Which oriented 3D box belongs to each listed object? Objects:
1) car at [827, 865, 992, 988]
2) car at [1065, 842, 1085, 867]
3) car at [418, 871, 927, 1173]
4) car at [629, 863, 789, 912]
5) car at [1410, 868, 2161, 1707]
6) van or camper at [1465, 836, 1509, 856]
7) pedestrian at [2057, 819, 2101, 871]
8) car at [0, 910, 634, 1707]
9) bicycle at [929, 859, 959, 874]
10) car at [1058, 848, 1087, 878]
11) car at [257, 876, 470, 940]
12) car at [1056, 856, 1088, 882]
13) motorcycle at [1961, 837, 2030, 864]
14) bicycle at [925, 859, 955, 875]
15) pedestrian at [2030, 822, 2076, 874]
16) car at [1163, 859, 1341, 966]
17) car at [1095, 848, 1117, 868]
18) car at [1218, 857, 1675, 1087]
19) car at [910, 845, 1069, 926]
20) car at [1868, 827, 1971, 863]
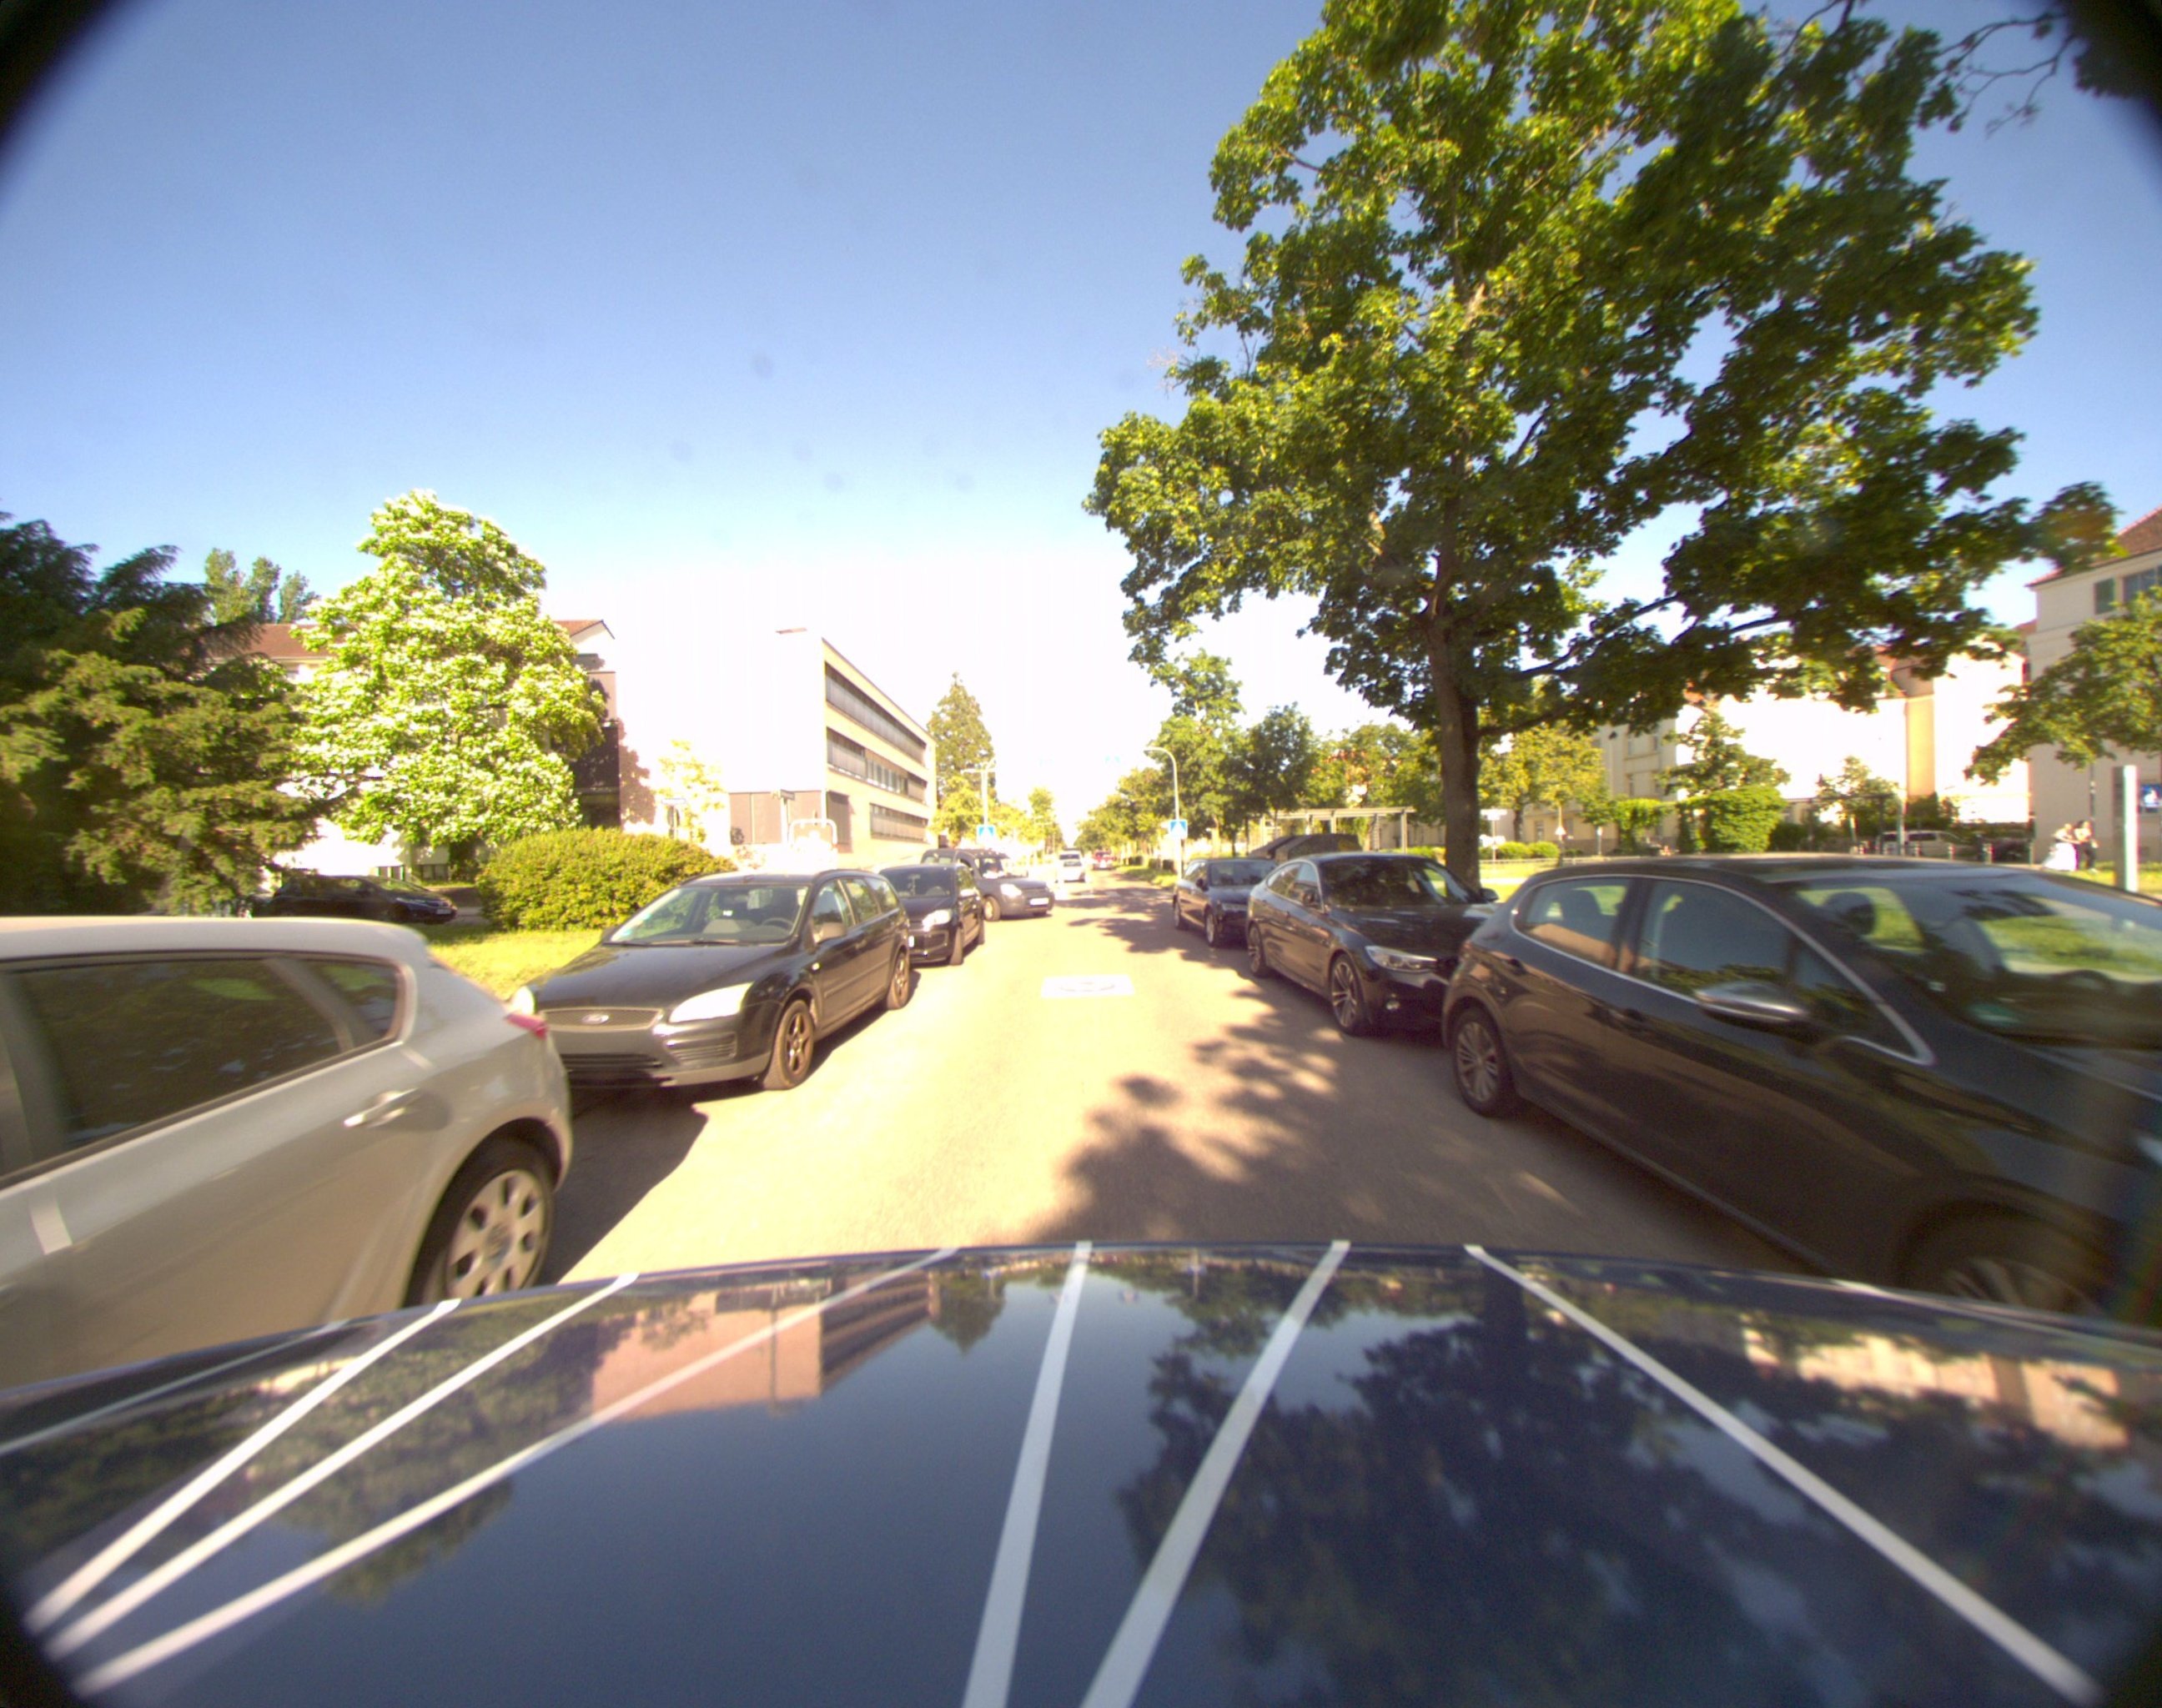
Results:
[{"bbox_3d":[-2.500,0.988,11.966,1.663,1.465,3.792,-3,0,0],"label":"car"},{"bbox_3d":[-0.625,0.062,85.167,2.074,2.583,6.202,-2,0,1],"label":"car"},{"bbox_3d":[-2.727,0.986,6.492,1.774,1.520,4.557,-2,0,1],"label":"car"},{"bbox_3d":[-12.759,1.132,26.295,4.559,1.466,1.906,-2,1,-3],"label":"car"},{"bbox_3d":[2.919,0.841,2.698,1.885,1.411,3.803,-1,1,1],"label":"car"},{"bbox_3d":[42.194,-0.821,79.056,2.273,2.002,4.373,-2,1,0],"label":"van or camper"},{"bbox_3d":[32.563,-0.290,24.790,0.544,1.675,0.674,-1,1,5],"label":"pedestrian"},{"bbox_3d":[-2.724,1.031,0.933,1.878,1.525,4.491,-2,0,-4],"label":"car"},{"bbox_3d":[-10.287,0.962,57.043,2.084,1.058,0.860,1,1,0],"label":"bicycle"},{"bbox_3d":[-0.564,0.564,51.710,1.788,1.899,4.626,-2,0,1],"label":"car"},{"bbox_3d":[-19.501,1.429,20.807,3.981,1.502,1.823,-2,1,-2],"label":"car"},{"bbox_3d":[-0.473,0.822,44.193,1.652,1.324,4.934,-2,0,1],"label":"car"},{"bbox_3d":[45.644,-0.156,37.955,0.818,1.297,2.144,-2,0,-2],"label":"motorcycle"},{"bbox_3d":[-10.325,0.959,55.754,2.030,1.057,0.882,1,1,-1],"label":"bicycle"},{"bbox_3d":[31.843,-0.200,24.900,0.545,1.675,0.750,-1,1,2],"label":"pedestrian"},{"bbox_3d":[2.749,0.864,13.474,1.840,1.444,4.967,-1,0,-2],"label":"car"},{"bbox_3d":[2.525,0.349,75.910,2.021,1.867,4.741,-2,0,3],"label":"car"},{"bbox_3d":[2.975,0.809,7.764,1.999,1.507,5.156,0,0,-3],"label":"car"},{"bbox_3d":[-2.402,0.734,19.212,1.908,1.779,4.145,-2,1,-42],"label":"car"},{"bbox_3d":[49.821,-0.523,45.200,3.812,1.944,2.043,-2,1,1],"label":"car"}]
